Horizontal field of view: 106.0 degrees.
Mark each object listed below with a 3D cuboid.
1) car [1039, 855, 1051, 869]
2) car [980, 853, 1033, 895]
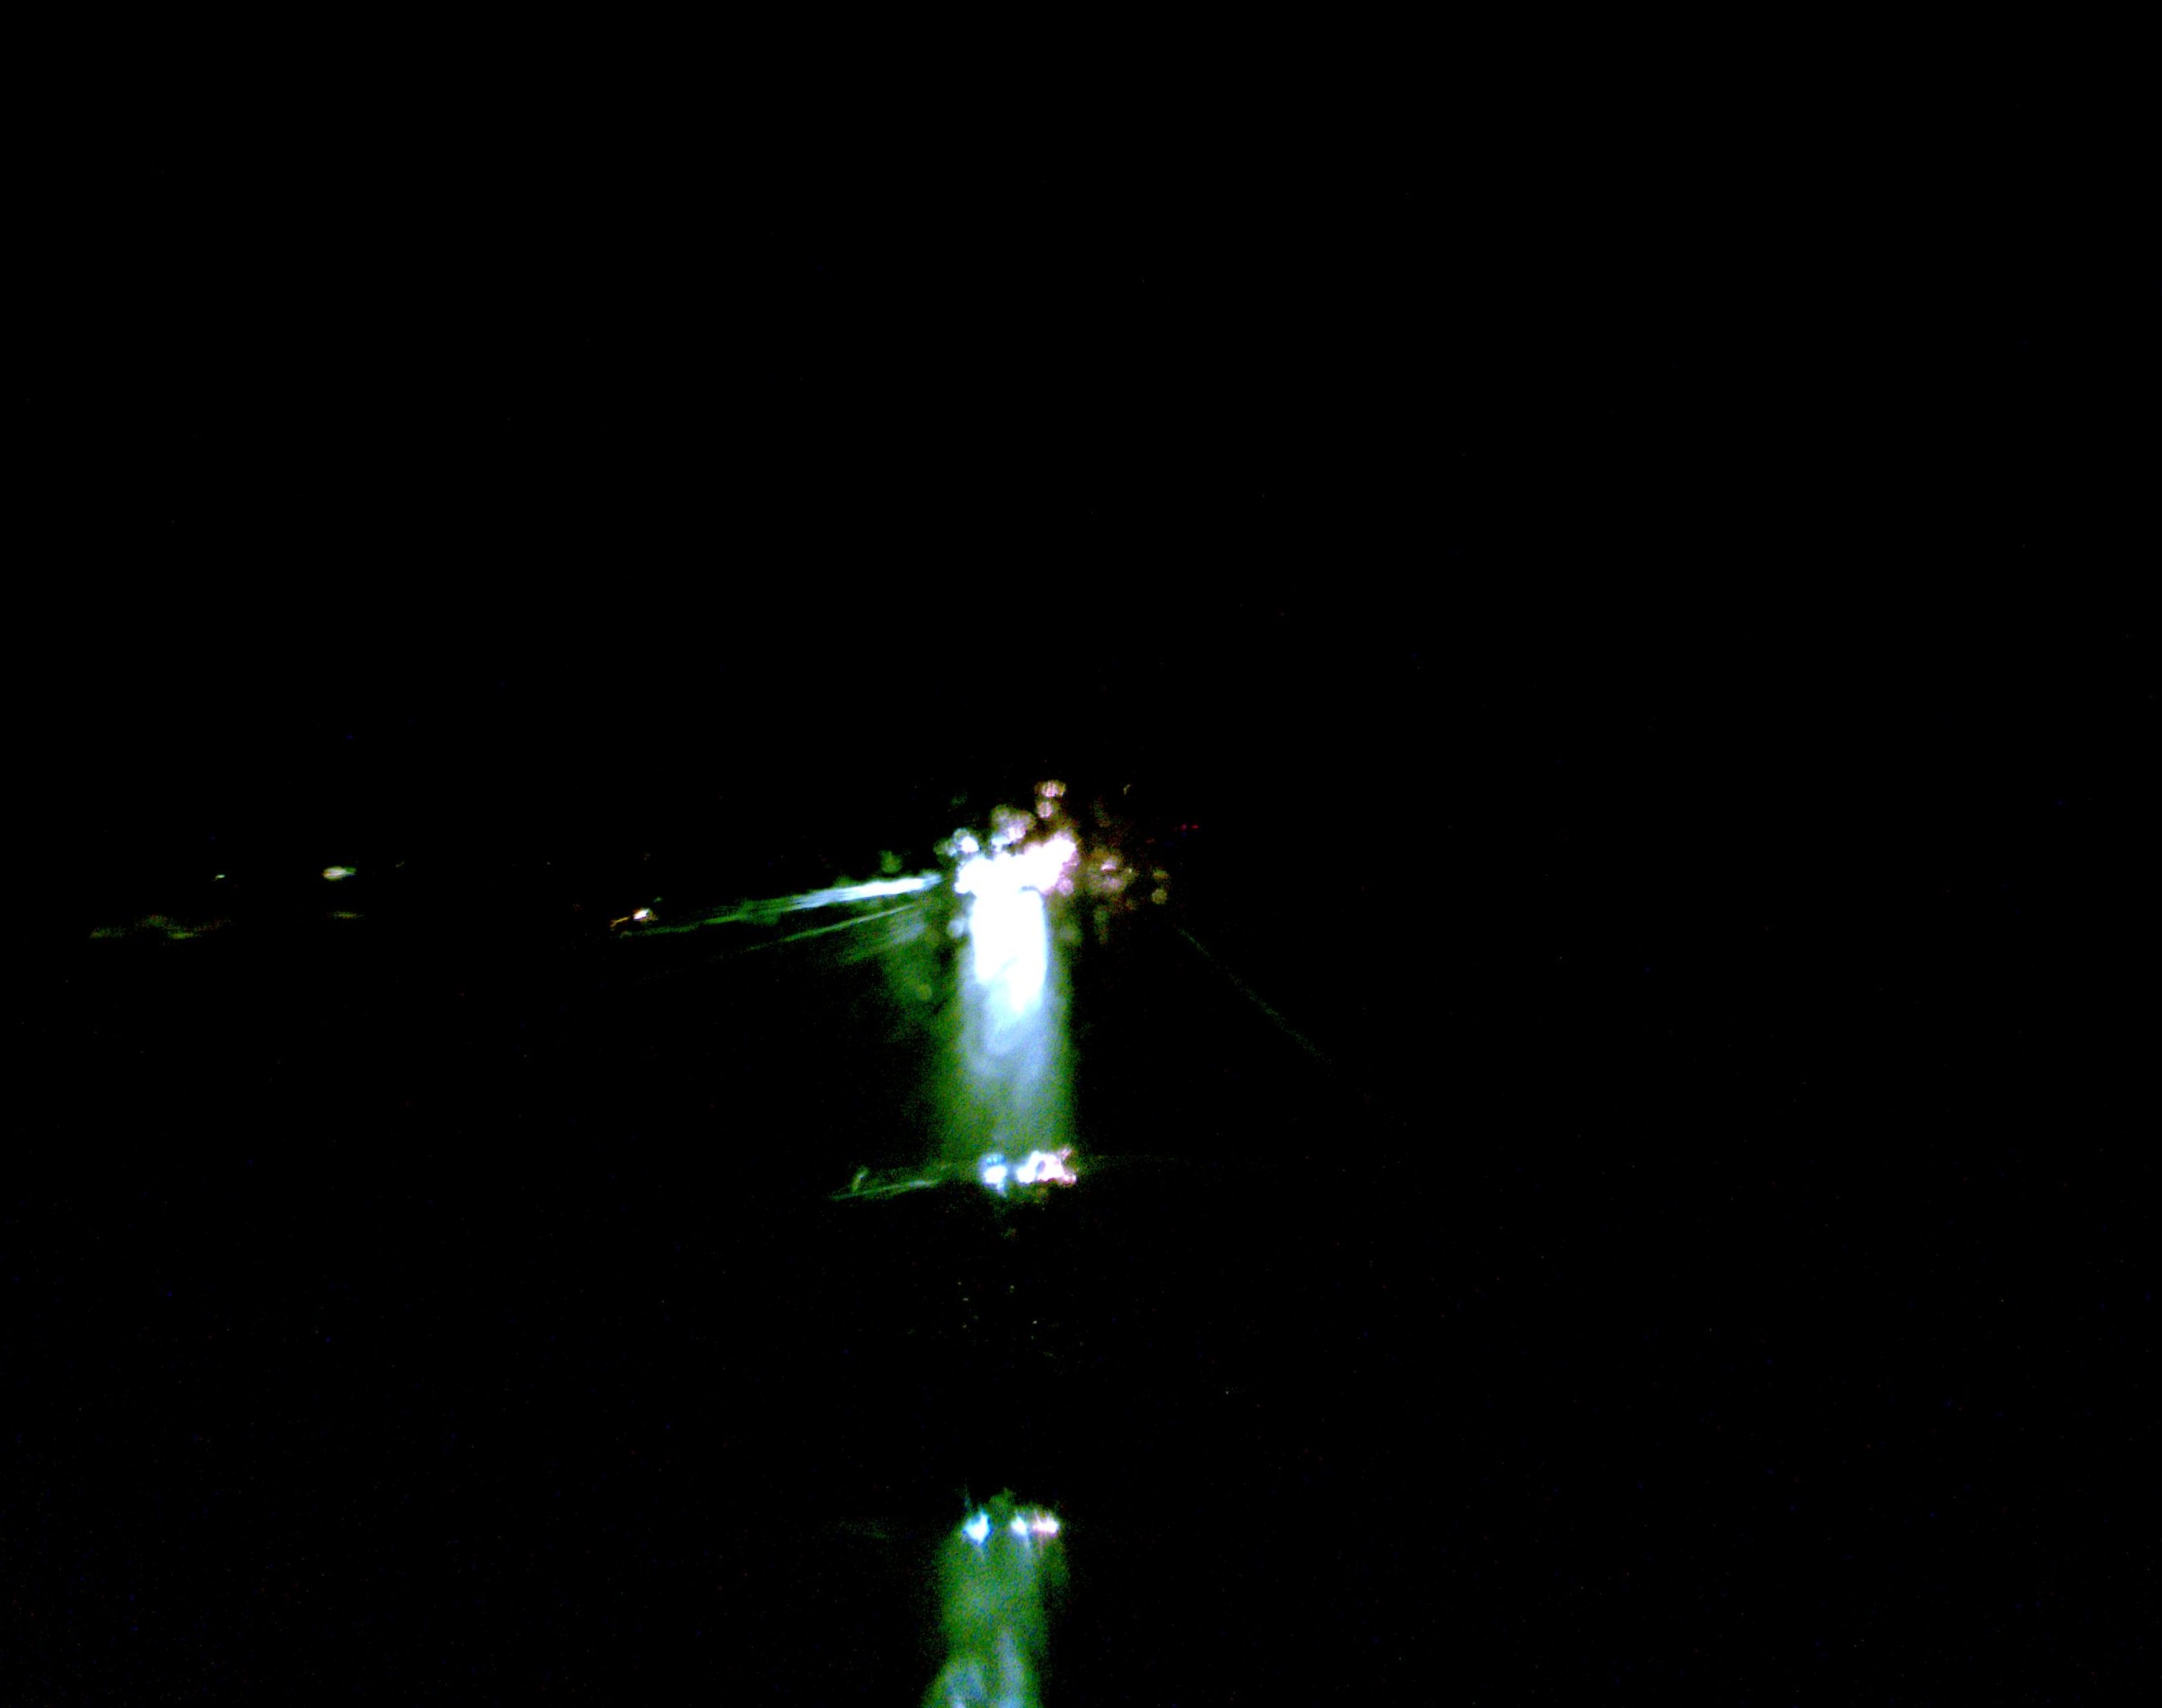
[{"bbox_3d":[-6.148,1.324,140.137,1.988,2.272,5.464,0,0,-1],"label":"car"},{"bbox_3d":[-3.209,0.817,35.760,1.920,1.703,4.000,0,0,1],"label":"car"}]
